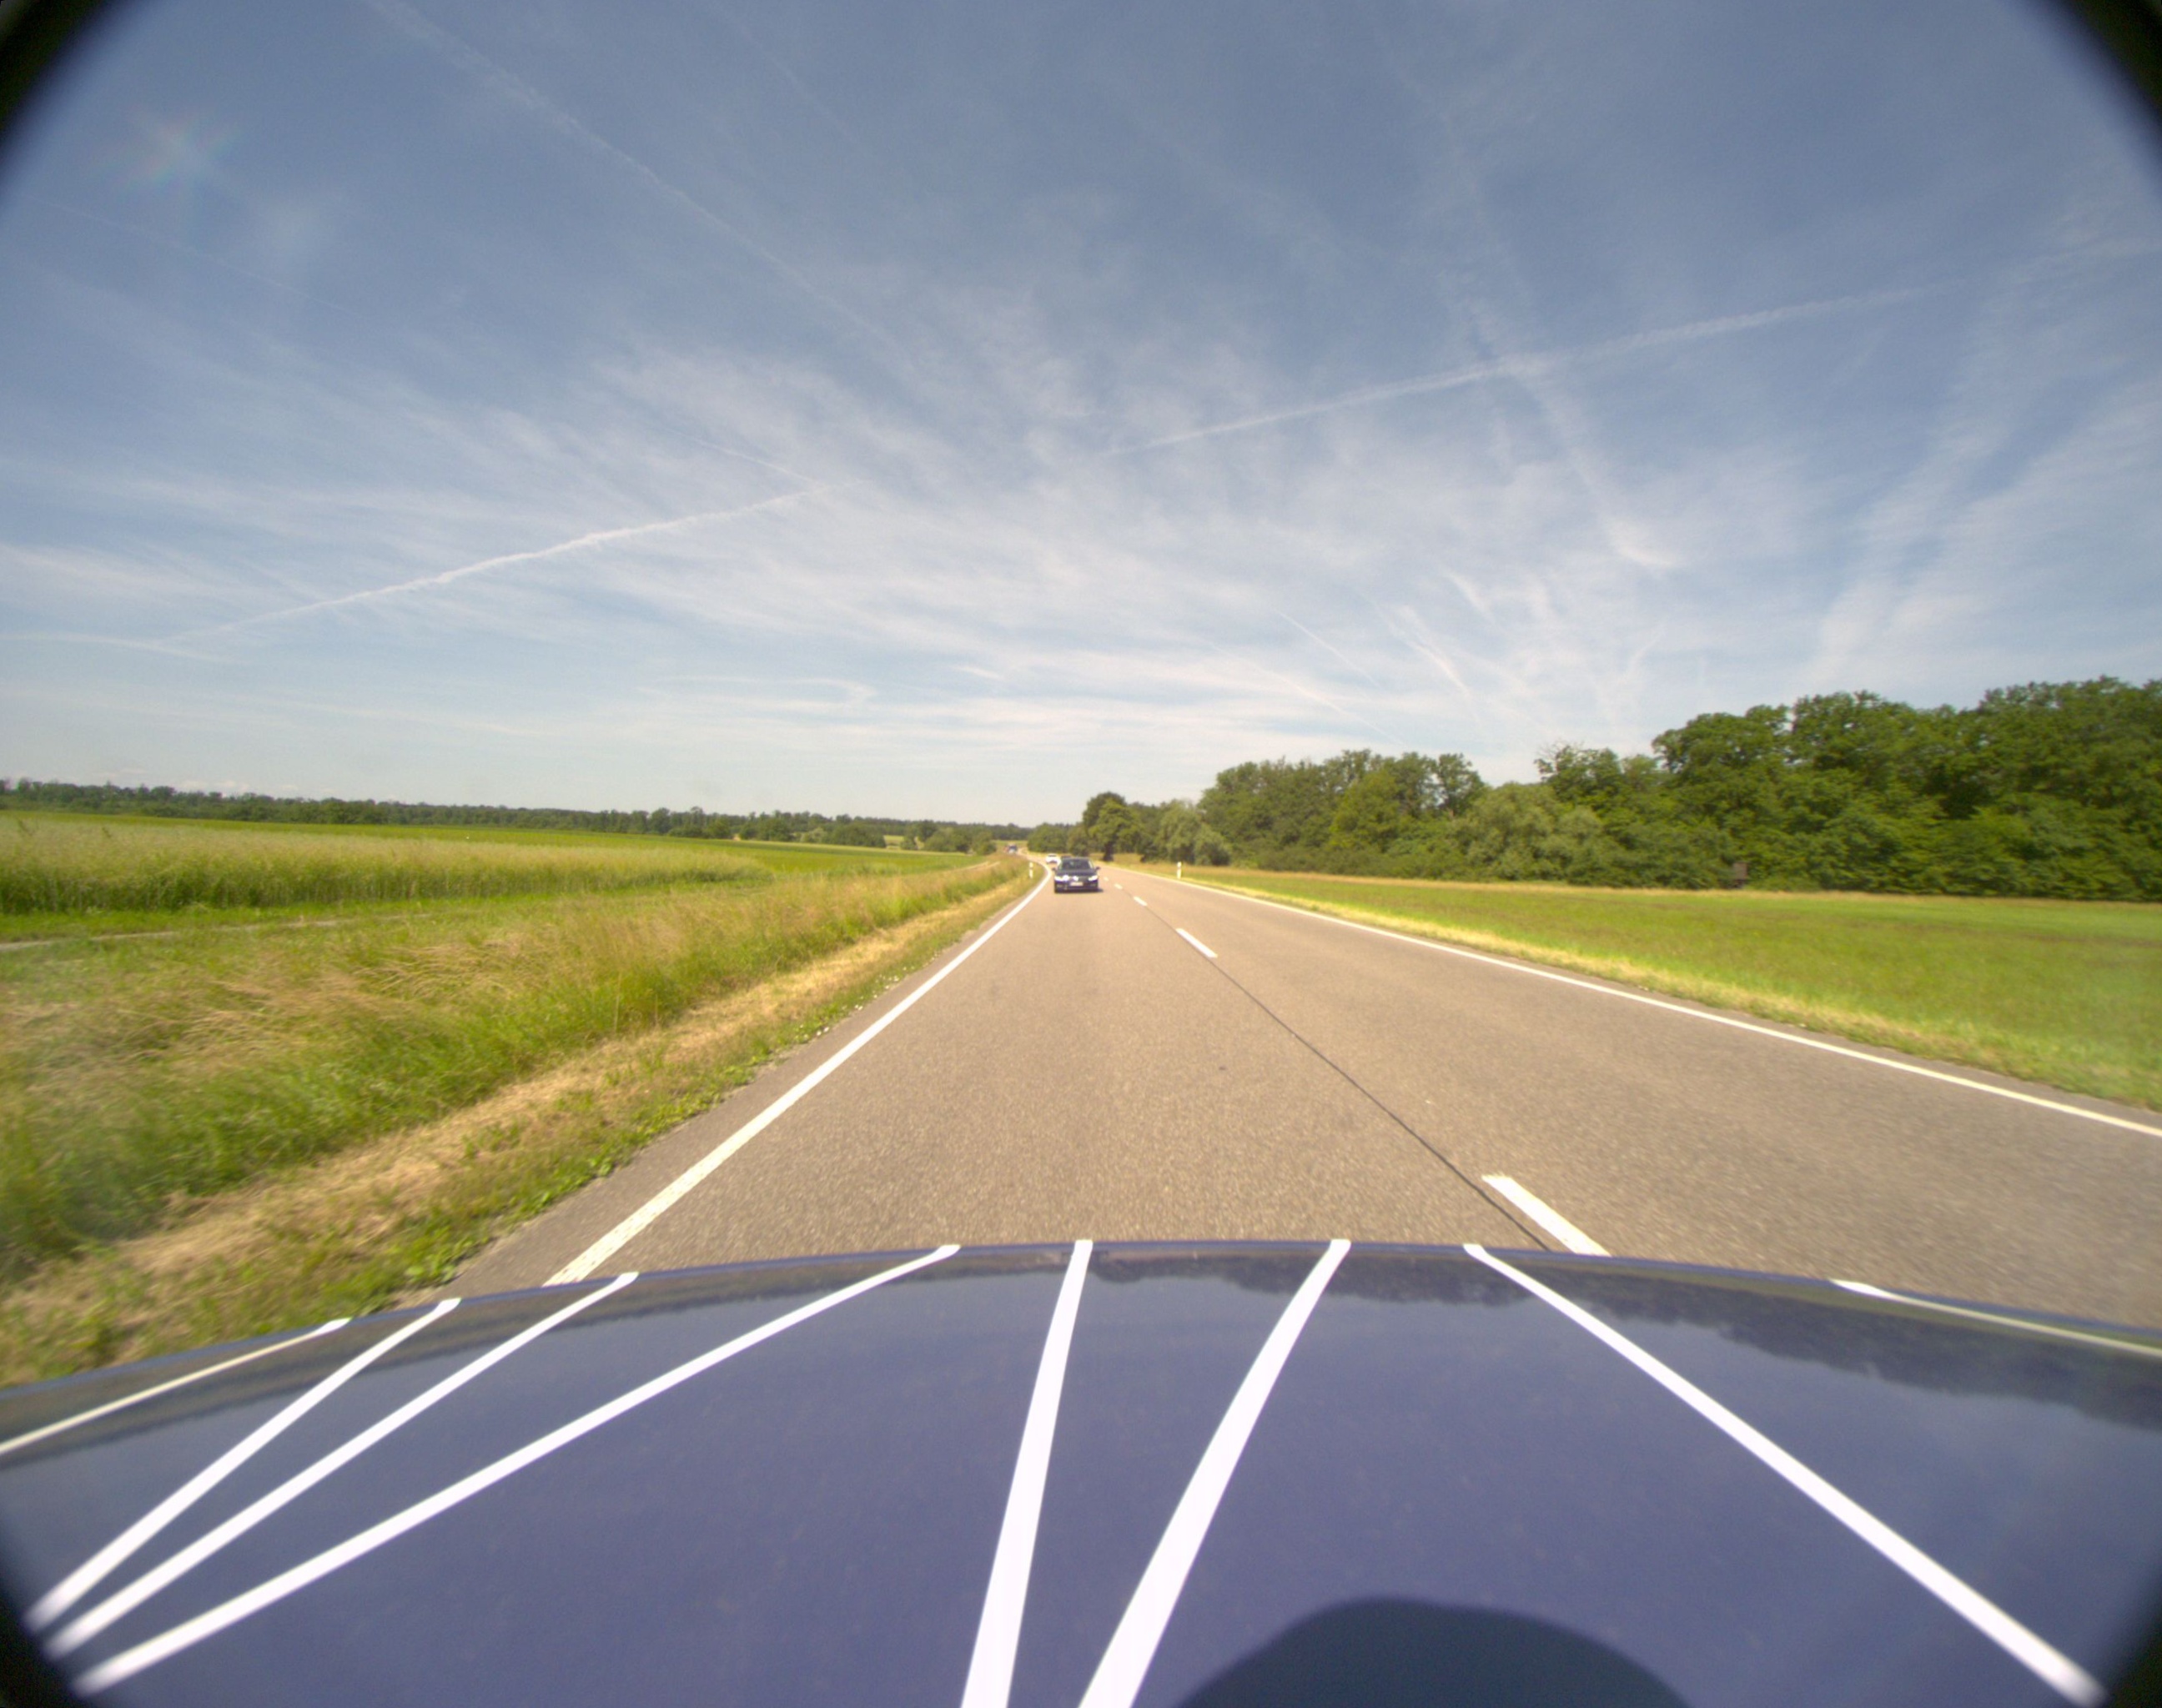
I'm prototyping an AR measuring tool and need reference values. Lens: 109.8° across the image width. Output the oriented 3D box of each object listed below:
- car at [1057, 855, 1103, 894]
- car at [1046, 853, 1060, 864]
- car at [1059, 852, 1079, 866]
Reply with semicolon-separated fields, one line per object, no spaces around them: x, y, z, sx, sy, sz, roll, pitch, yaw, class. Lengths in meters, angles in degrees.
-0.088;0.828;32.884;1.822;1.501;4.500;-2;0;-1;car
-4.186;0.688;114.817;1.929;1.501;4.289;1;0;-4;car
-1.279;0.489;80.797;1.929;1.501;4.289;0;0;-4;car
